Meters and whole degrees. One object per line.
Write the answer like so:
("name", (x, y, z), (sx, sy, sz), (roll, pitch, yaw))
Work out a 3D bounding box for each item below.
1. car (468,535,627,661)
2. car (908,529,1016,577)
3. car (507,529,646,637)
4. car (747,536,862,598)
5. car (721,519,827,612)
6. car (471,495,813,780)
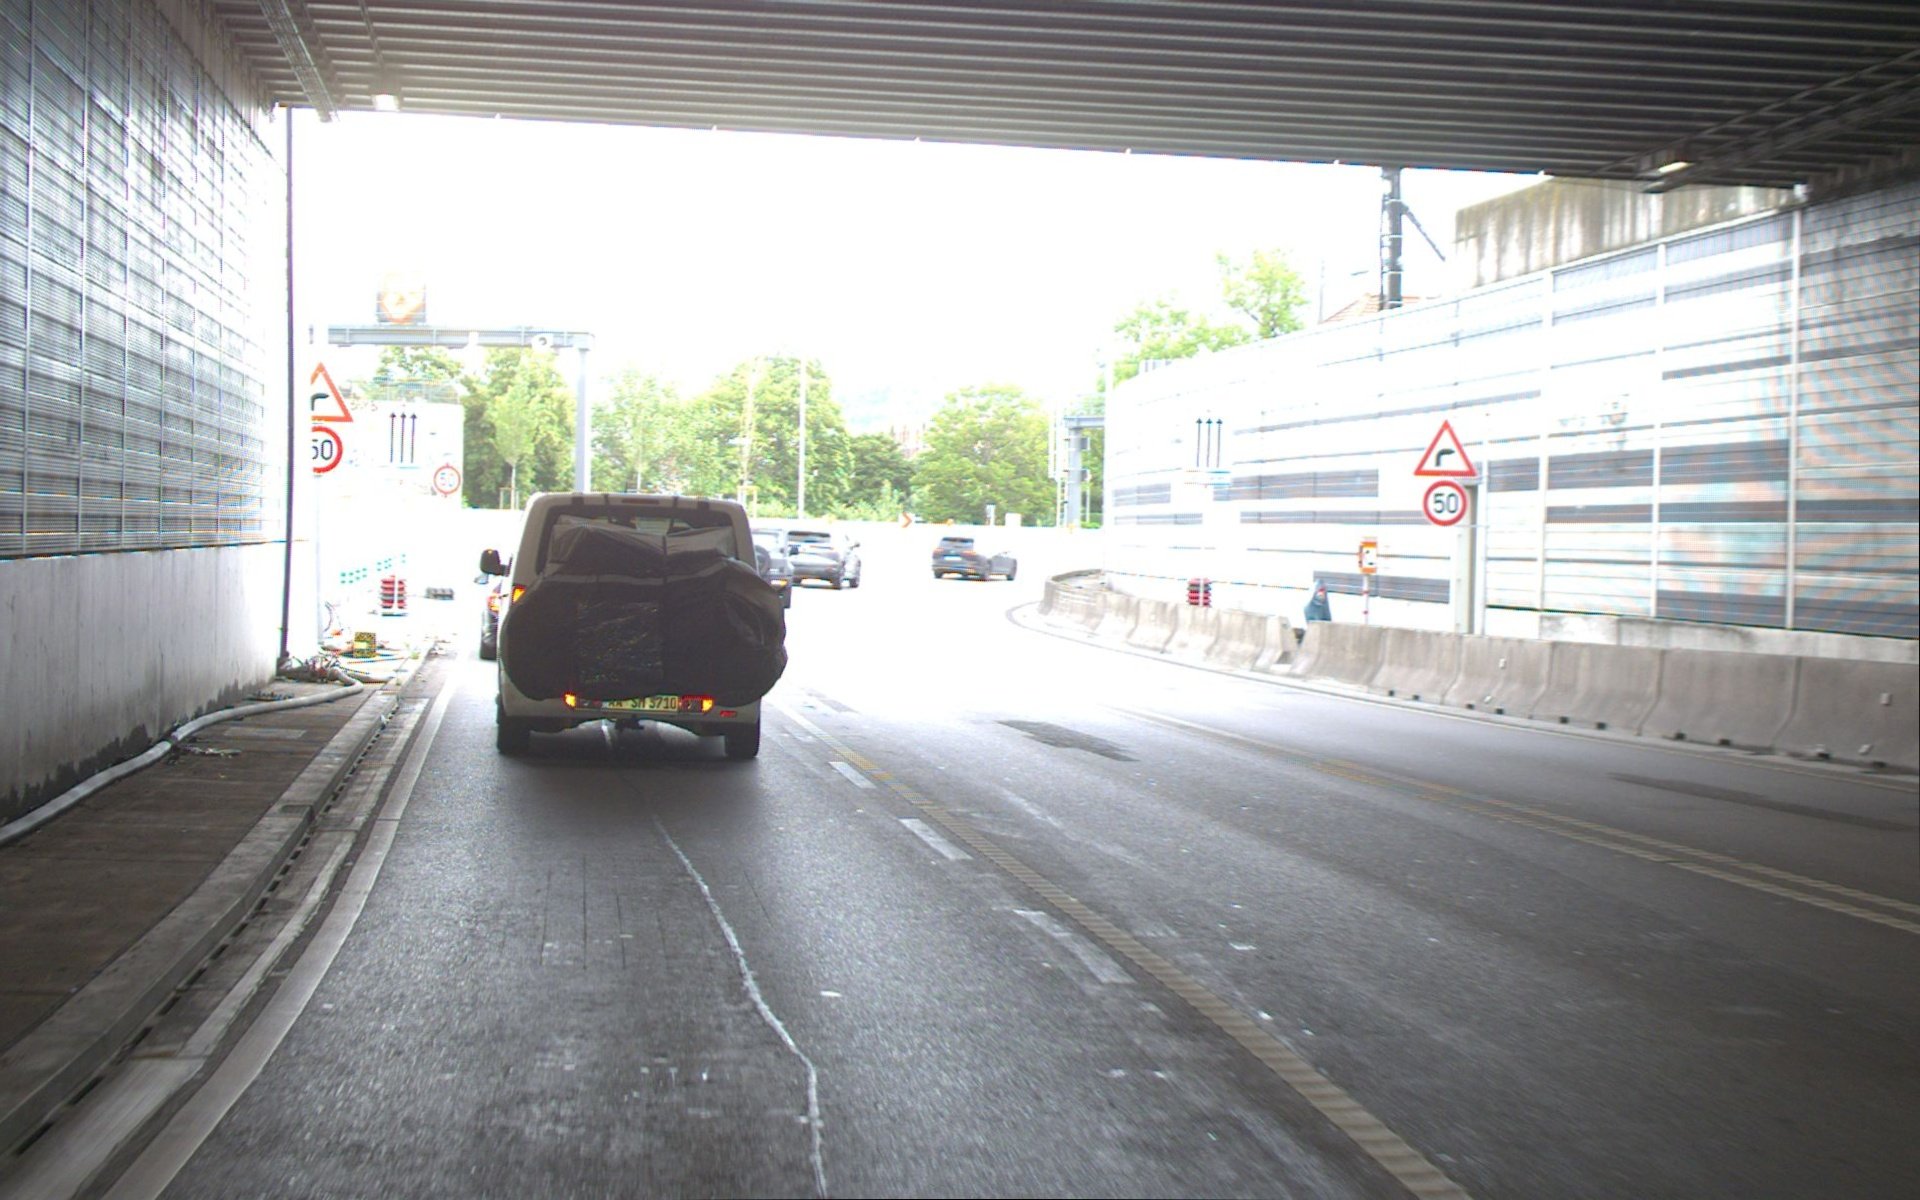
("car", (-5.070, -0.054, 42.141), (1.814, 1.429, 4.066), (1, 1, -7))
("car", (0.087, -1.471, 107.998), (1.996, 1.464, 3.995), (1, 1, 22))
("car", (-5.948, -0.299, 53.680), (1.920, 1.483, 4.066), (2, 2, -4))
("car", (-4.068, -0.898, 90.497), (2.013, 1.483, 4.063), (3, 2, 12))
("car", (-4.027, -0.766, 73.861), (1.993, 1.853, 4.001), (2, 1, -6))
("car", (-2.462, 0.184, 25.234), (1.992, 1.852, 5.643), (0, 1, -10))
